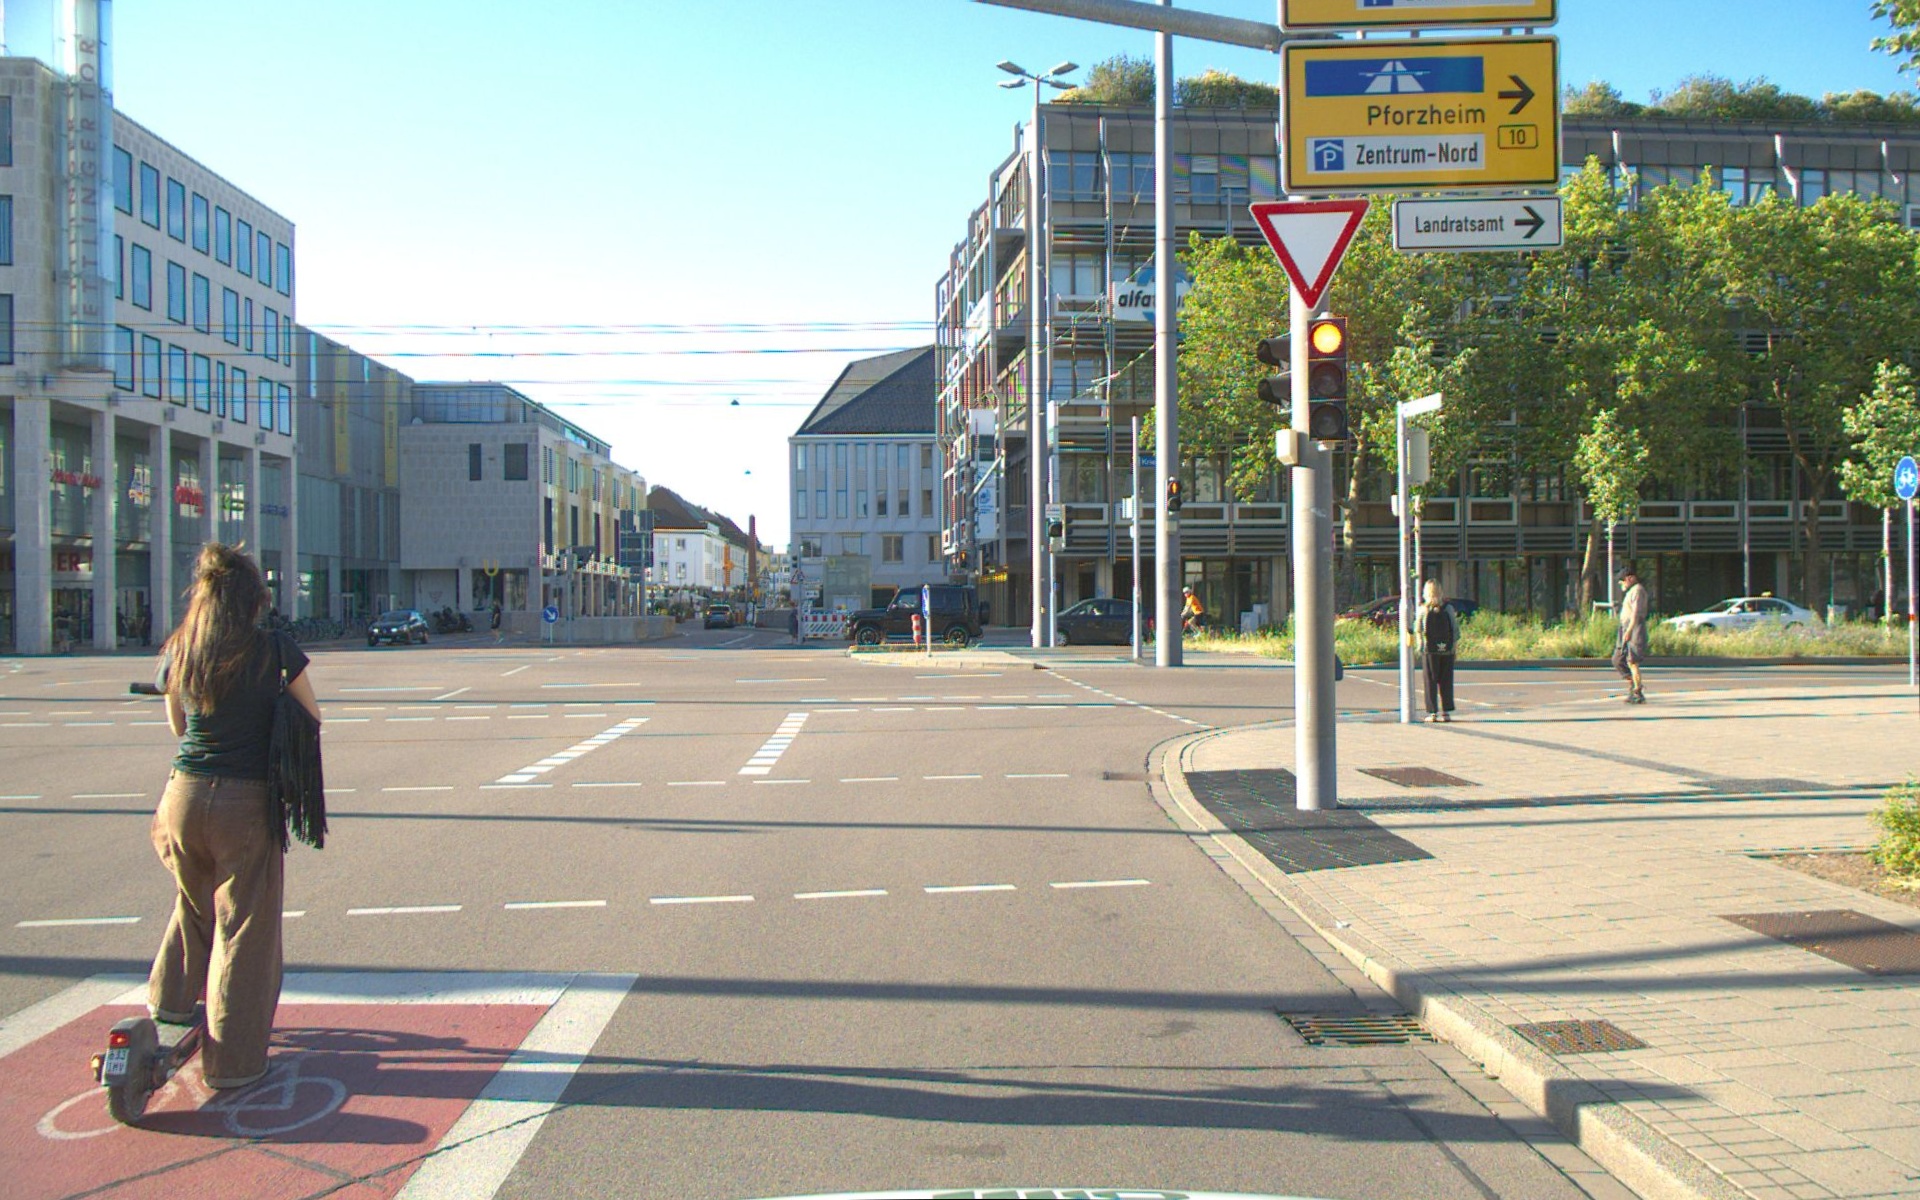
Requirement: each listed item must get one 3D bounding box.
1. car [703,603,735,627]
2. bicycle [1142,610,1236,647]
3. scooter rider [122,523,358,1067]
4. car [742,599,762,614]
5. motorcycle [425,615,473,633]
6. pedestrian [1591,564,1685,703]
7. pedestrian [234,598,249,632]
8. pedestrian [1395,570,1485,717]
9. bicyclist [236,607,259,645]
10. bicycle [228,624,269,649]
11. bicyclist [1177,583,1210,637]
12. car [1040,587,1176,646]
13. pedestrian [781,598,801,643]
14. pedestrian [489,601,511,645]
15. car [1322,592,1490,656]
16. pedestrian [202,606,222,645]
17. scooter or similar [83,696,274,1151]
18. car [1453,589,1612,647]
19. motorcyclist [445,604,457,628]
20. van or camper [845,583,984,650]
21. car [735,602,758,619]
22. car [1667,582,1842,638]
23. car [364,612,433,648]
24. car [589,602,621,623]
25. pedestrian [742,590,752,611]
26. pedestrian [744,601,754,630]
[{"bbox_3d":[-15.698,0.965,107.821,1.625,1.484,3.541,-1,0,-1],"label":"car"},{"bbox_3d":[6.518,0.800,47.200,2.517,0.992,1.047,-1,0,-4],"label":"bicycle"},{"bbox_3d":[-2.158,0.555,5.001,0.542,1.556,0.448,-1,0,-9],"label":"scooter rider"},{"bbox_3d":[-20.825,0.649,165.769,1.625,1.484,3.541,-1,0,-1],"label":"car"},{"bbox_3d":[-30.170,1.404,97.604,2.555,1.010,1.113,1,0,-10],"label":"motorcycle"},{"bbox_3d":[8.697,0.423,21.244,0.854,1.736,0.768,-1,0,-3],"label":"pedestrian"},{"bbox_3d":[-36.903,0.769,84.994,0.462,1.759,0.518,0,-1,38],"label":"pedestrian"},{"bbox_3d":[5.503,0.490,19.009,0.750,1.642,0.874,-1,0,-2],"label":"pedestrian"},{"bbox_3d":[-27.781,0.998,64.519,0.613,1.473,0.589,-1,0,0],"label":"bicyclist"},{"bbox_3d":[-27.787,1.413,64.628,0.622,0.919,2.218,-1,0,0],"label":"bicycle"},{"bbox_3d":[6.673,0.281,47.220,0.806,1.500,0.652,-1,0,-5],"label":"bicyclist"},{"bbox_3d":[4.444,0.498,50.113,3.907,1.713,1.761,-1,0,-2],"label":"car"},{"bbox_3d":[-6.546,0.803,63.934,0.685,1.718,0.619,-1,0,0],"label":"pedestrian"},{"bbox_3d":[-17.526,0.866,63.034,0.764,1.667,0.623,-1,0,-17],"label":"pedestrian"},{"bbox_3d":[12.552,0.650,46.636,4.212,1.713,1.820,-1,0,-11],"label":"car"},{"bbox_3d":[-32.518,1.111,71.877,0.580,1.674,0.629,-1,0,-1],"label":"pedestrian"},{"bbox_3d":[-2.213,0.867,4.739,0.301,1.127,0.836,-1,0,-12],"label":"scooter or similar"},{"bbox_3d":[17.812,0.540,51.567,4.317,1.713,1.824,-1,0,-4],"label":"car"},{"bbox_3d":[-30.104,0.948,97.822,0.616,1.430,0.661,1,-1,-9],"label":"motorcyclist"},{"bbox_3d":[-1.495,0.516,53.196,4.329,2.049,1.993,-1,0,-5],"label":"van or camper"},{"bbox_3d":[-18.757,0.937,145.601,1.625,1.484,3.541,-1,0,-1],"label":"car"},{"bbox_3d":[25.171,0.307,52.480,4.749,1.713,1.824,-1,0,-4],"label":"car"},{"bbox_3d":[-23.533,1.231,69.434,1.642,1.381,4.019,-1,0,-2],"label":"car"},{"bbox_3d":[-26.070,0.916,121.675,1.625,1.484,3.541,-1,0,-1],"label":"car"},{"bbox_3d":[-21.151,0.053,164.360,0.892,1.999,0.822,1,-1,-1],"label":"pedestrian"},{"bbox_3d":[-12.333,0.888,96.704,0.481,1.693,0.529,1,-1,-15],"label":"pedestrian"}]
